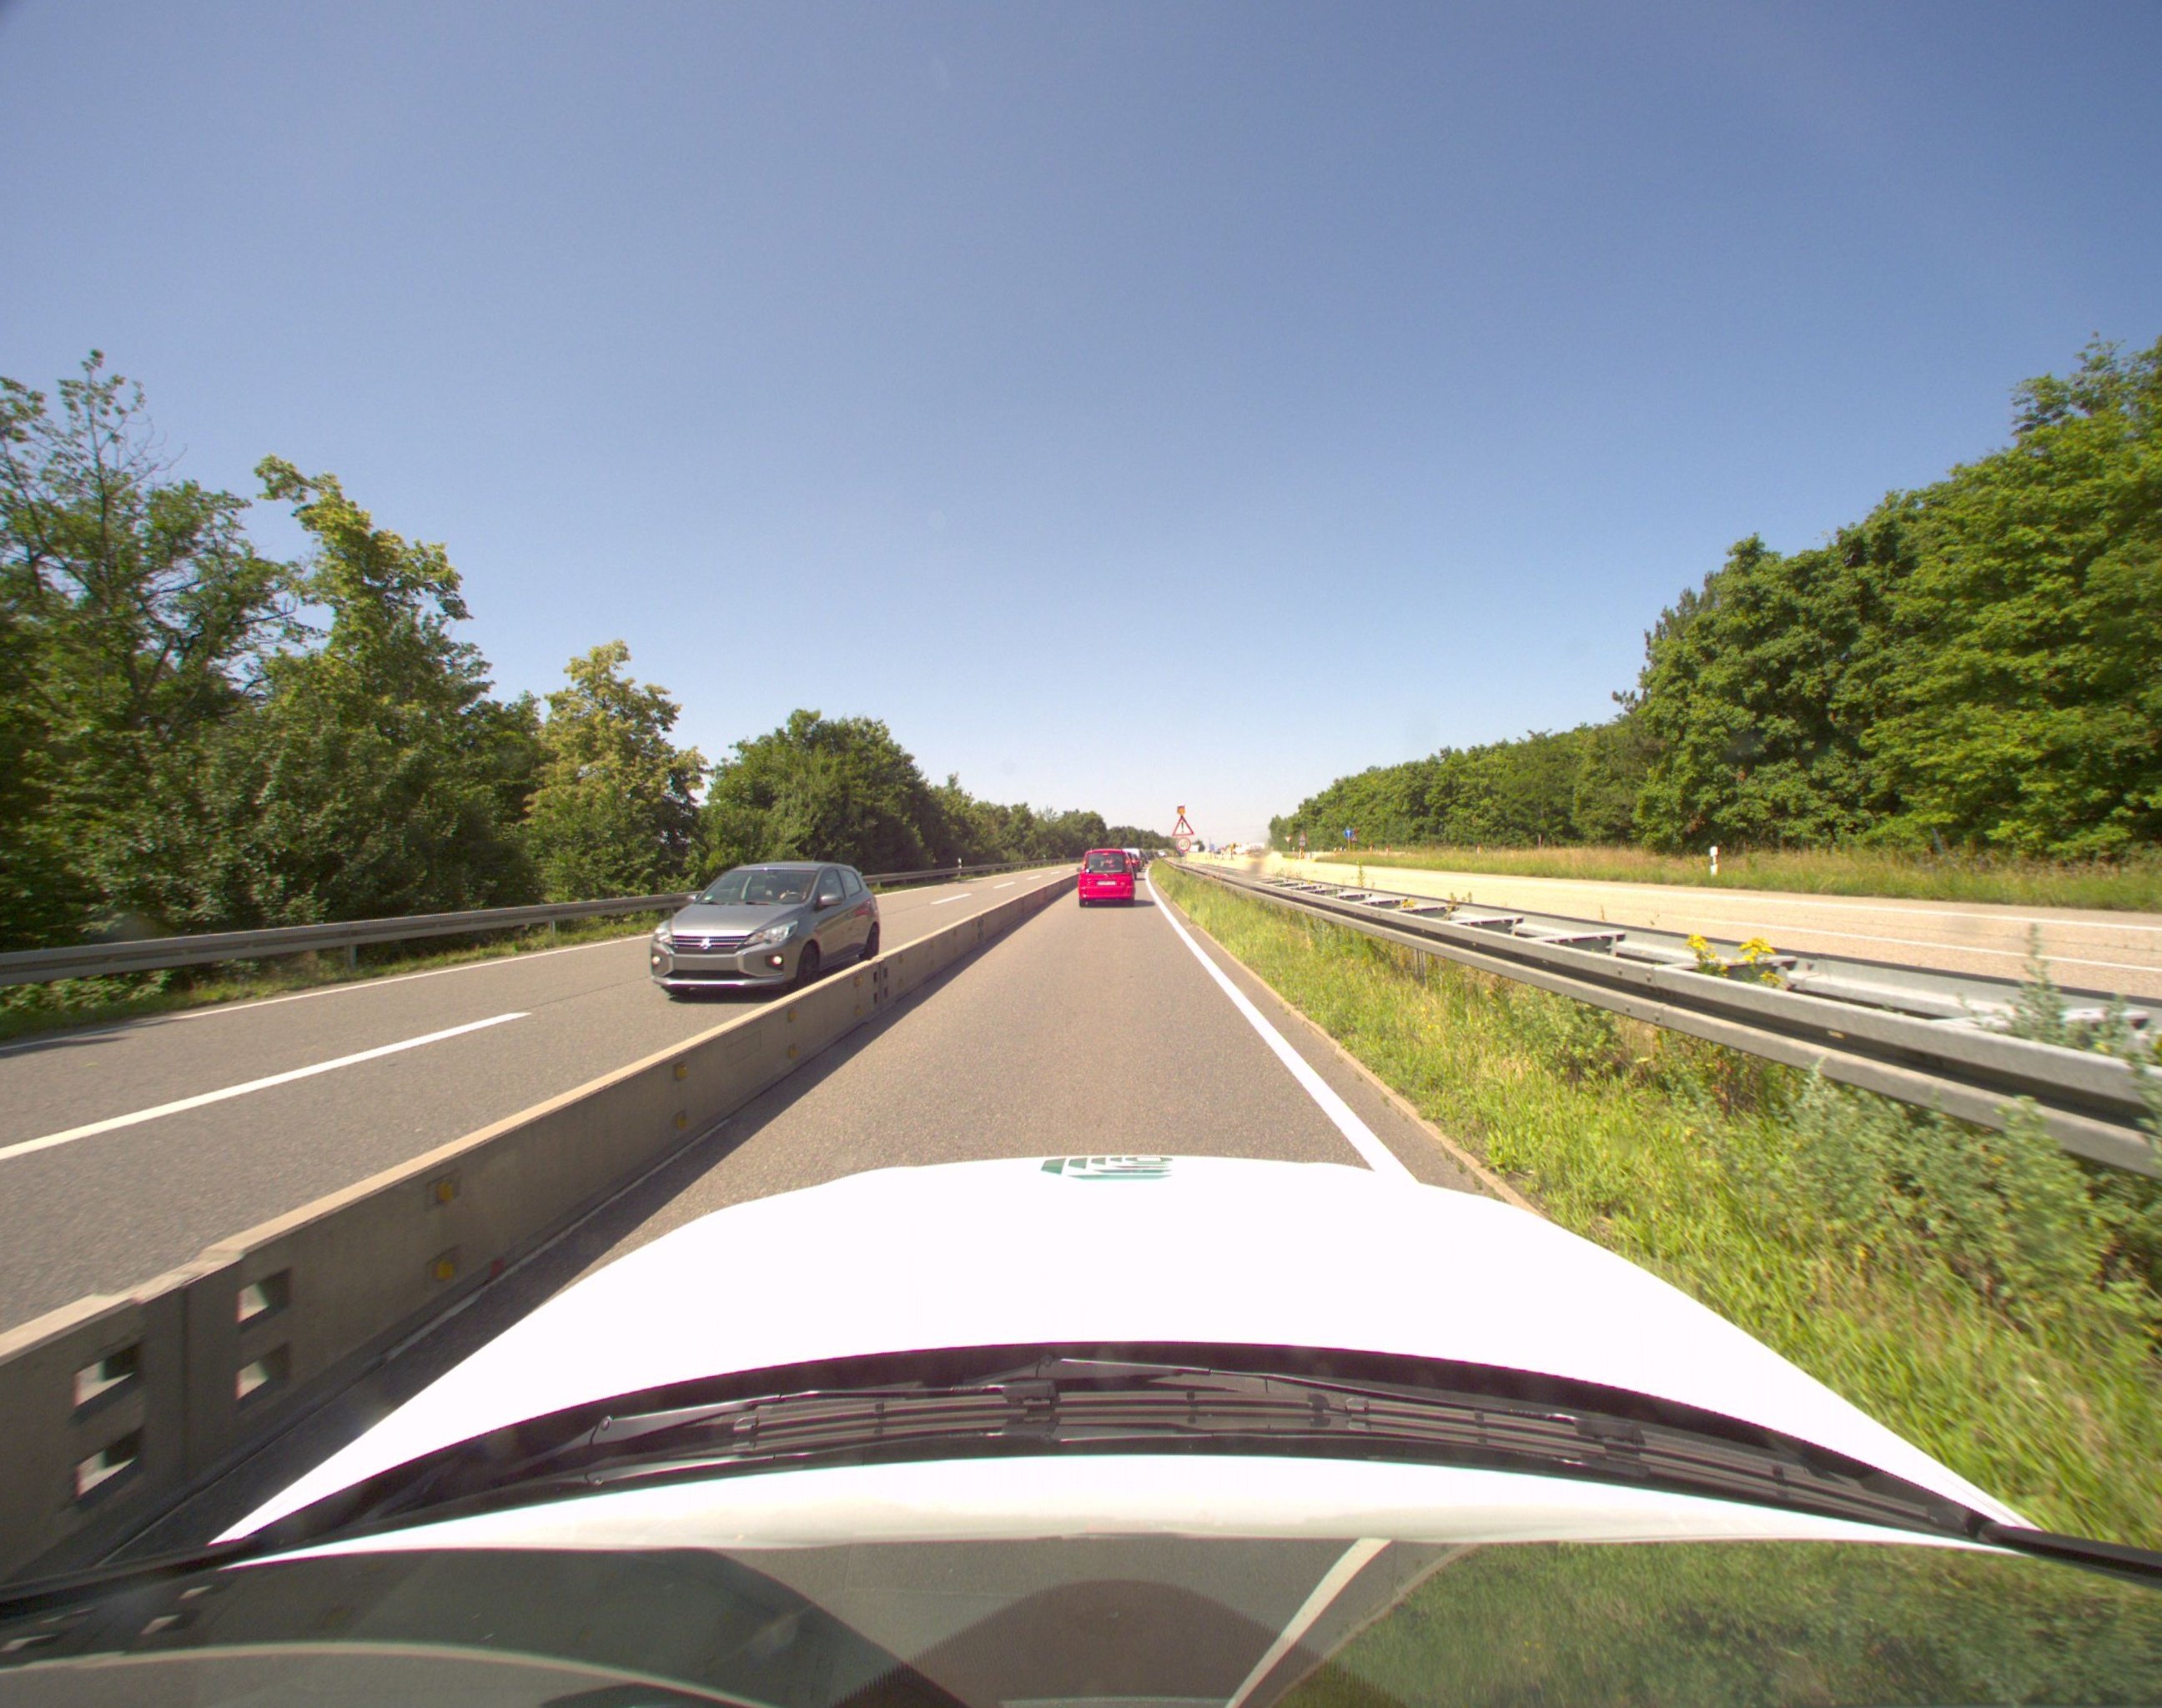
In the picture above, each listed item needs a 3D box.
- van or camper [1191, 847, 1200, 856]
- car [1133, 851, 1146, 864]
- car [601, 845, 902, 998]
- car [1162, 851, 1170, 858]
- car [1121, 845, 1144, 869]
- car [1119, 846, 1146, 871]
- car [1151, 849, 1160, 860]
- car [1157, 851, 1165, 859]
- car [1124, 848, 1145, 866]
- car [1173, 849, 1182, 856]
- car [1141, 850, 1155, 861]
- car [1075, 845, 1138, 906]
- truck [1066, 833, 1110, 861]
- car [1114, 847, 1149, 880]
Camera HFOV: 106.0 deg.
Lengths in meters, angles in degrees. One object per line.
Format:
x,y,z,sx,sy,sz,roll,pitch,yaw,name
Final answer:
33.204,-0.740,236.518,2.318,2.707,4.596,-2,0,3,van or camper
7.018,0.375,97.781,1.494,1.450,3.330,-2,0,5,car
-3.917,0.719,10.684,1.941,1.579,4.439,-1,0,3,car
17.437,0.112,167.421,1.493,1.450,3.176,-2,0,7,car
4.553,0.248,72.218,1.986,2.003,4.002,-1,0,2,car
4.013,0.341,63.077,1.985,1.838,4.004,-2,0,3,car
12.414,0.061,135.965,1.494,1.736,3.175,-1,0,5,car
14.930,0.170,151.794,1.413,1.298,2.885,-1,0,7,car
5.465,0.284,83.948,1.986,1.750,4.002,-2,0,2,car
22.683,-0.275,191.118,1.984,1.552,4.005,-1,0,5,car
9.968,0.205,120.517,1.984,1.585,4.005,-1,0,5,car
0.738,0.609,24.930,1.746,1.673,4.000,-1,0,0,car
1.477,-1.354,167.249,8.576,5.375,3.395,-2,0,6,truck
2.865,0.502,46.356,1.822,1.722,4.003,-2,0,3,car
